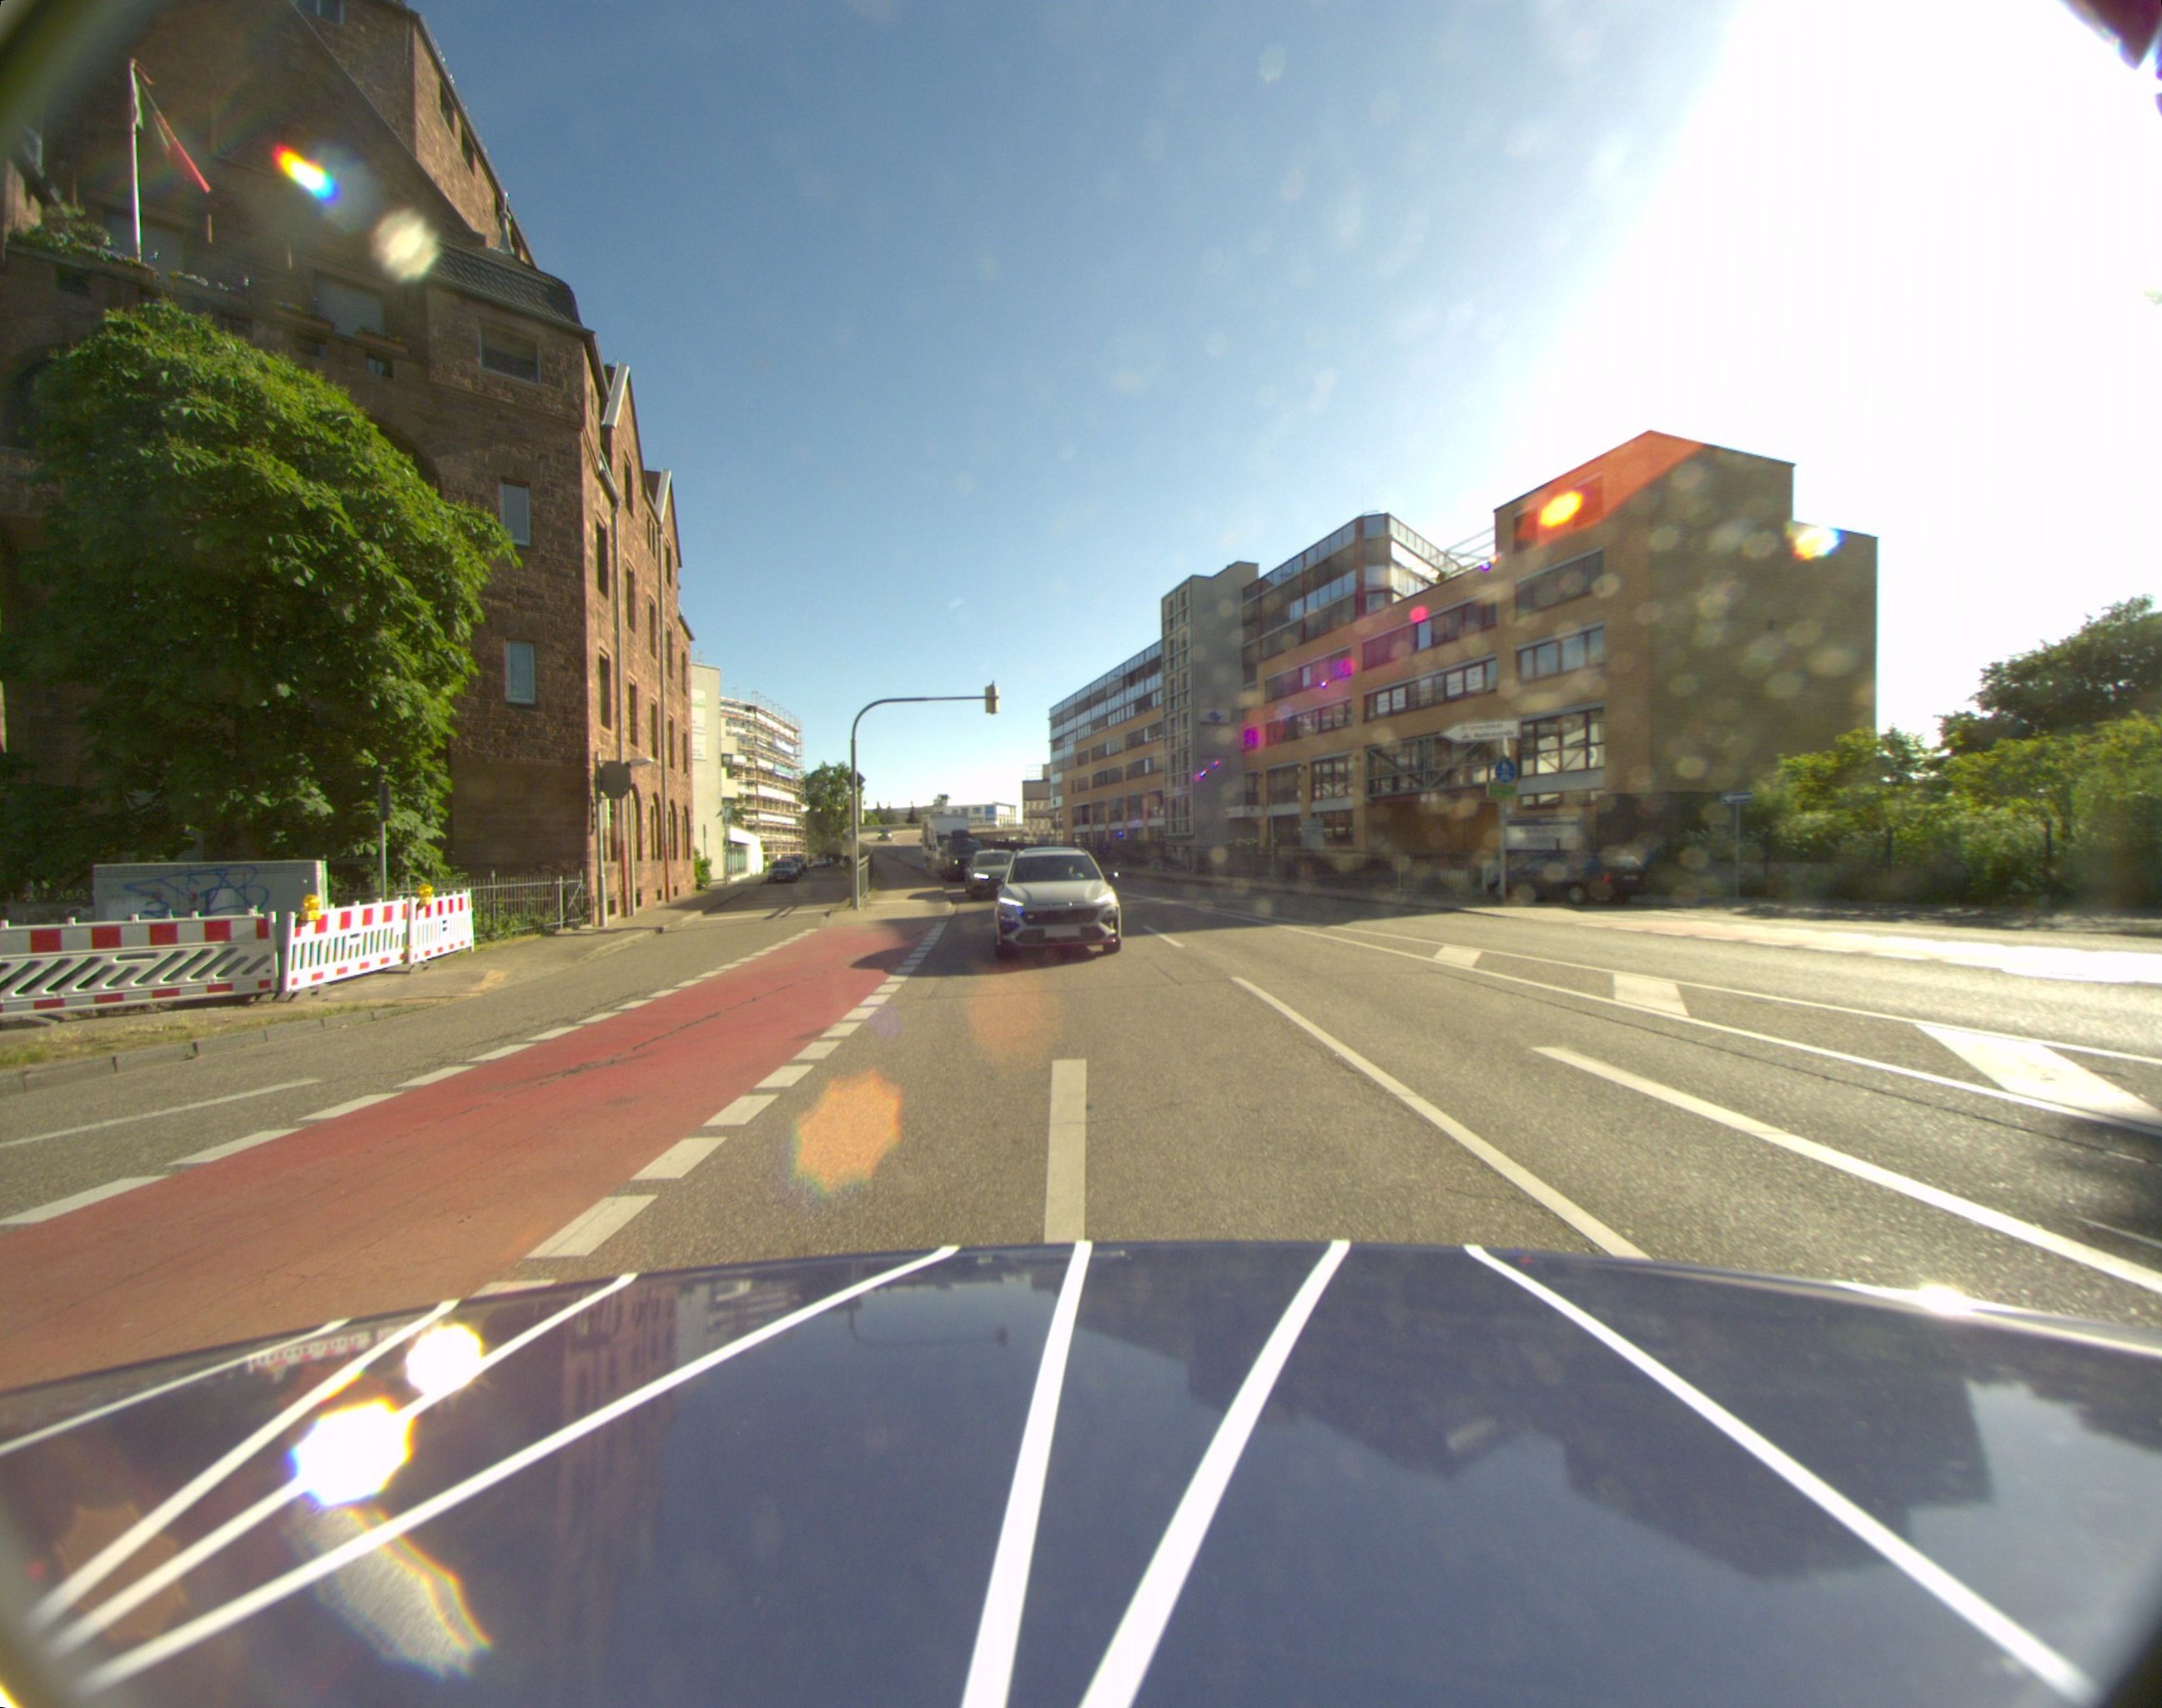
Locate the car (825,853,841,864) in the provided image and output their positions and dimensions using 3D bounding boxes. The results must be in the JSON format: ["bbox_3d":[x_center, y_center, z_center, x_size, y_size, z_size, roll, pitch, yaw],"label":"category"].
[{"bbox_3d":[-39.049,0.659,119.720,1.758,1.749,4.174,-1,0,-9],"label":"car"}]

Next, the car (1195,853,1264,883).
[{"bbox_3d":[7.966,0.744,41.104,1.640,1.514,4.153,-1,0,-23],"label":"car"}]

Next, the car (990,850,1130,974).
[{"bbox_3d":[-0.440,0.771,12.382,1.879,1.612,4.194,-1,1,-4],"label":"car"}]

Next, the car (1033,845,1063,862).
[{"bbox_3d":[-3.220,-0.084,73.307,2.001,1.499,3.993,-3,2,-16],"label":"car"}]

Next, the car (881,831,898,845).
[{"bbox_3d":[-26.022,-2.114,103.247,1.758,1.749,4.781,-1,0,-9],"label":"car"}]

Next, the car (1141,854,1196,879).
[{"bbox_3d":[5.553,0.783,48.765,1.882,1.514,4.154,-1,0,-20],"label":"car"}]

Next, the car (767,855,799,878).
[{"bbox_3d":[-21.942,0.904,56.115,2.056,1.522,4.085,-2,0,-20],"label":"car"}]

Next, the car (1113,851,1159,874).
[{"bbox_3d":[3.887,0.586,54.133,1.887,1.555,3.994,-1,0,-18],"label":"car"}]

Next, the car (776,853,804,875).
[{"bbox_3d":[-24.269,0.814,63.515,2.056,1.676,4.085,-2,0,-20],"label":"car"}]

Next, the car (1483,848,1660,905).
[{"bbox_3d":[14.193,0.652,22.307,1.661,1.500,4.373,1,-1,-15],"label":"car"}]

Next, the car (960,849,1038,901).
[{"bbox_3d":[-2.748,0.598,24.451,1.881,1.462,4.629,-1,1,-14],"label":"car"}]

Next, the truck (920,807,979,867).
[{"bbox_3d":[-7.579,-0.891,43.122,2.506,3.110,6.950,-1,0,-16],"label":"truck"}]

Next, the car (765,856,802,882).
[{"bbox_3d":[-19.340,0.941,49.566,2.056,1.522,4.086,-2,0,-19],"label":"car"}]

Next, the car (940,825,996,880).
[{"bbox_3d":[-5.131,-0.073,33.986,1.952,2.248,4.779,-1,0,-14],"label":"car"}]

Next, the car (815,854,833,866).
[{"bbox_3d":[-38.437,0.828,113.628,1.758,1.749,4.199,-1,0,-9],"label":"car"}]
